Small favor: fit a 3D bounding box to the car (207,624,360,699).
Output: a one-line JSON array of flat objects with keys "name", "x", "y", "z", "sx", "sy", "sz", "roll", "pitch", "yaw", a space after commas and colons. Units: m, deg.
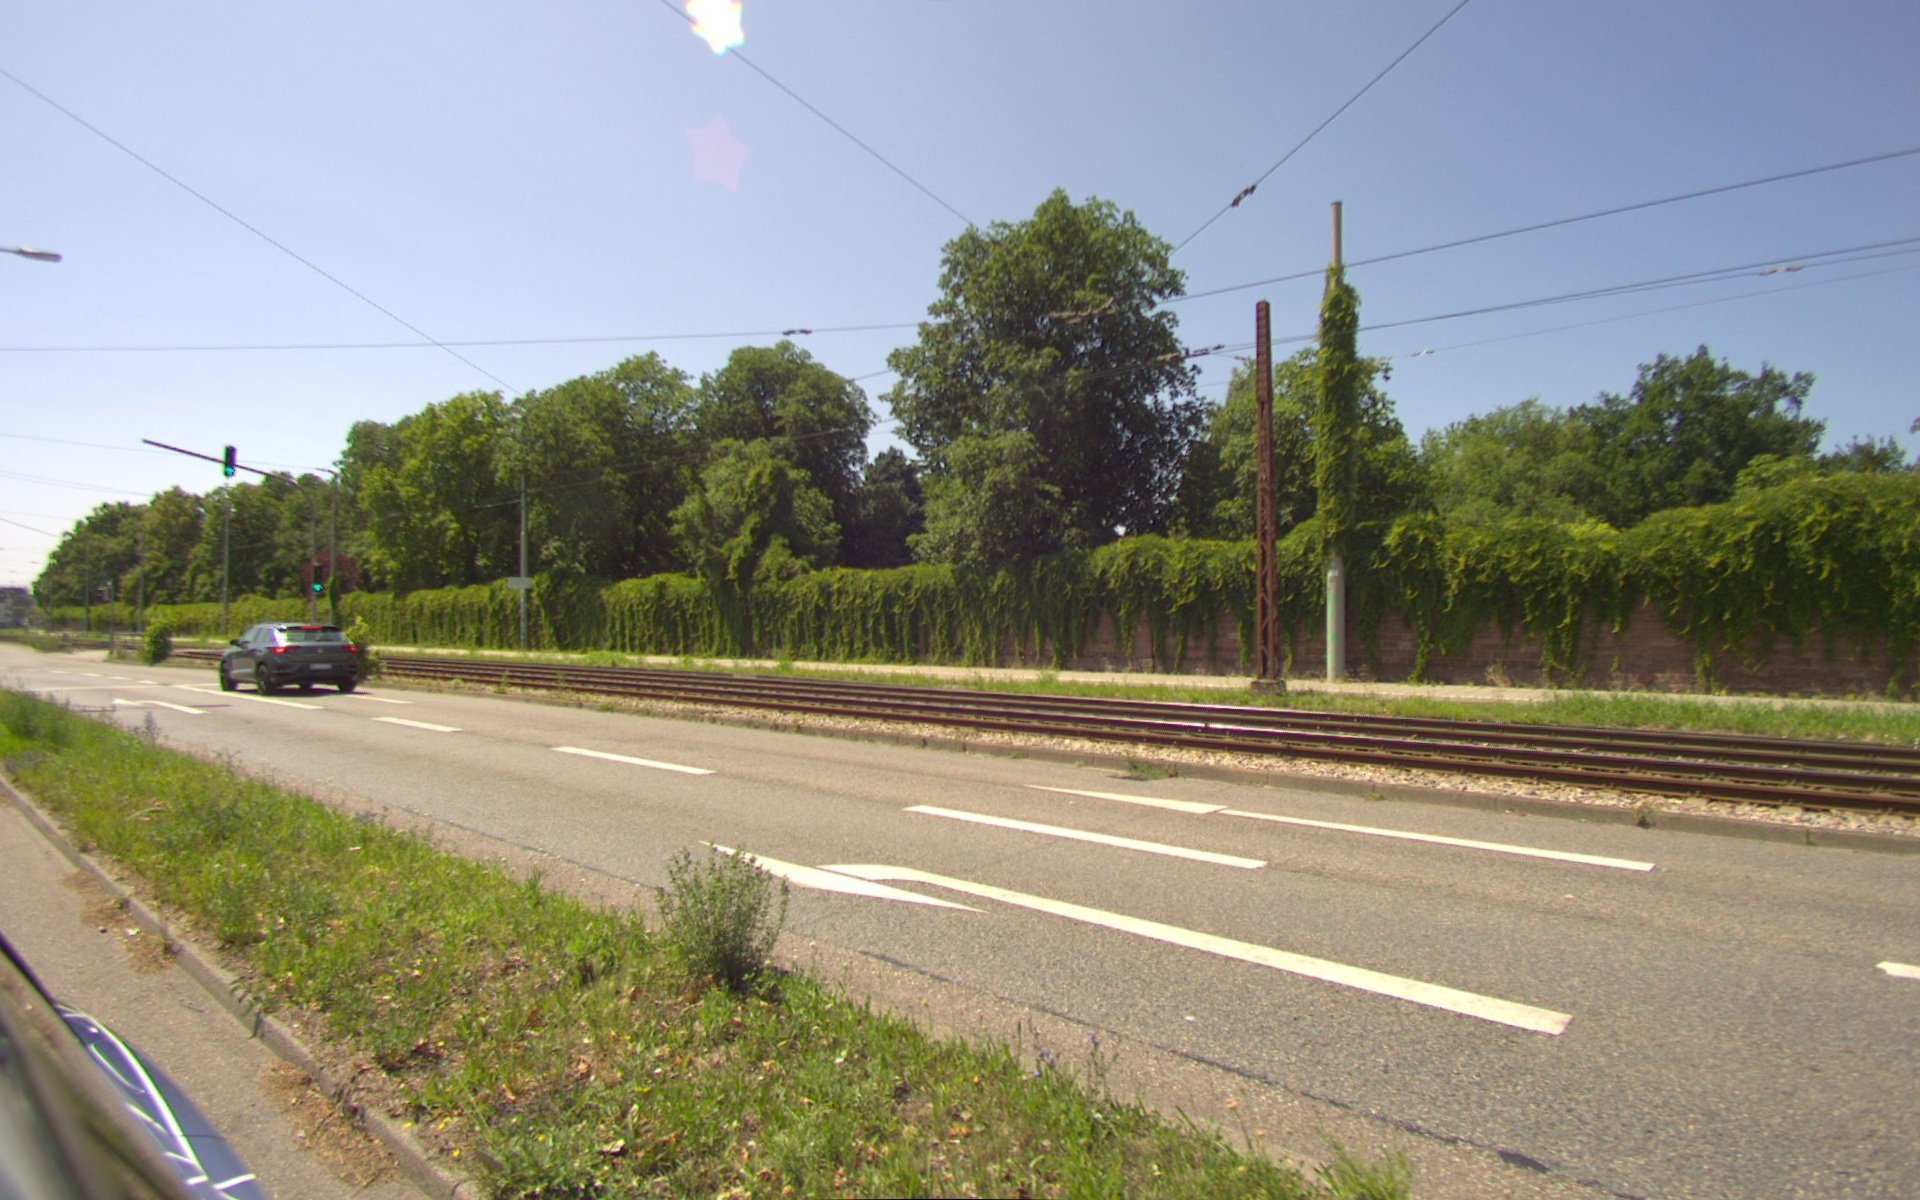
[{"name": "car", "x": -15.149, "y": 1.312, "z": 22.604, "sx": 4.060, "sy": 1.524, "sz": 1.681, "roll": -2, "pitch": -2, "yaw": 38}]
